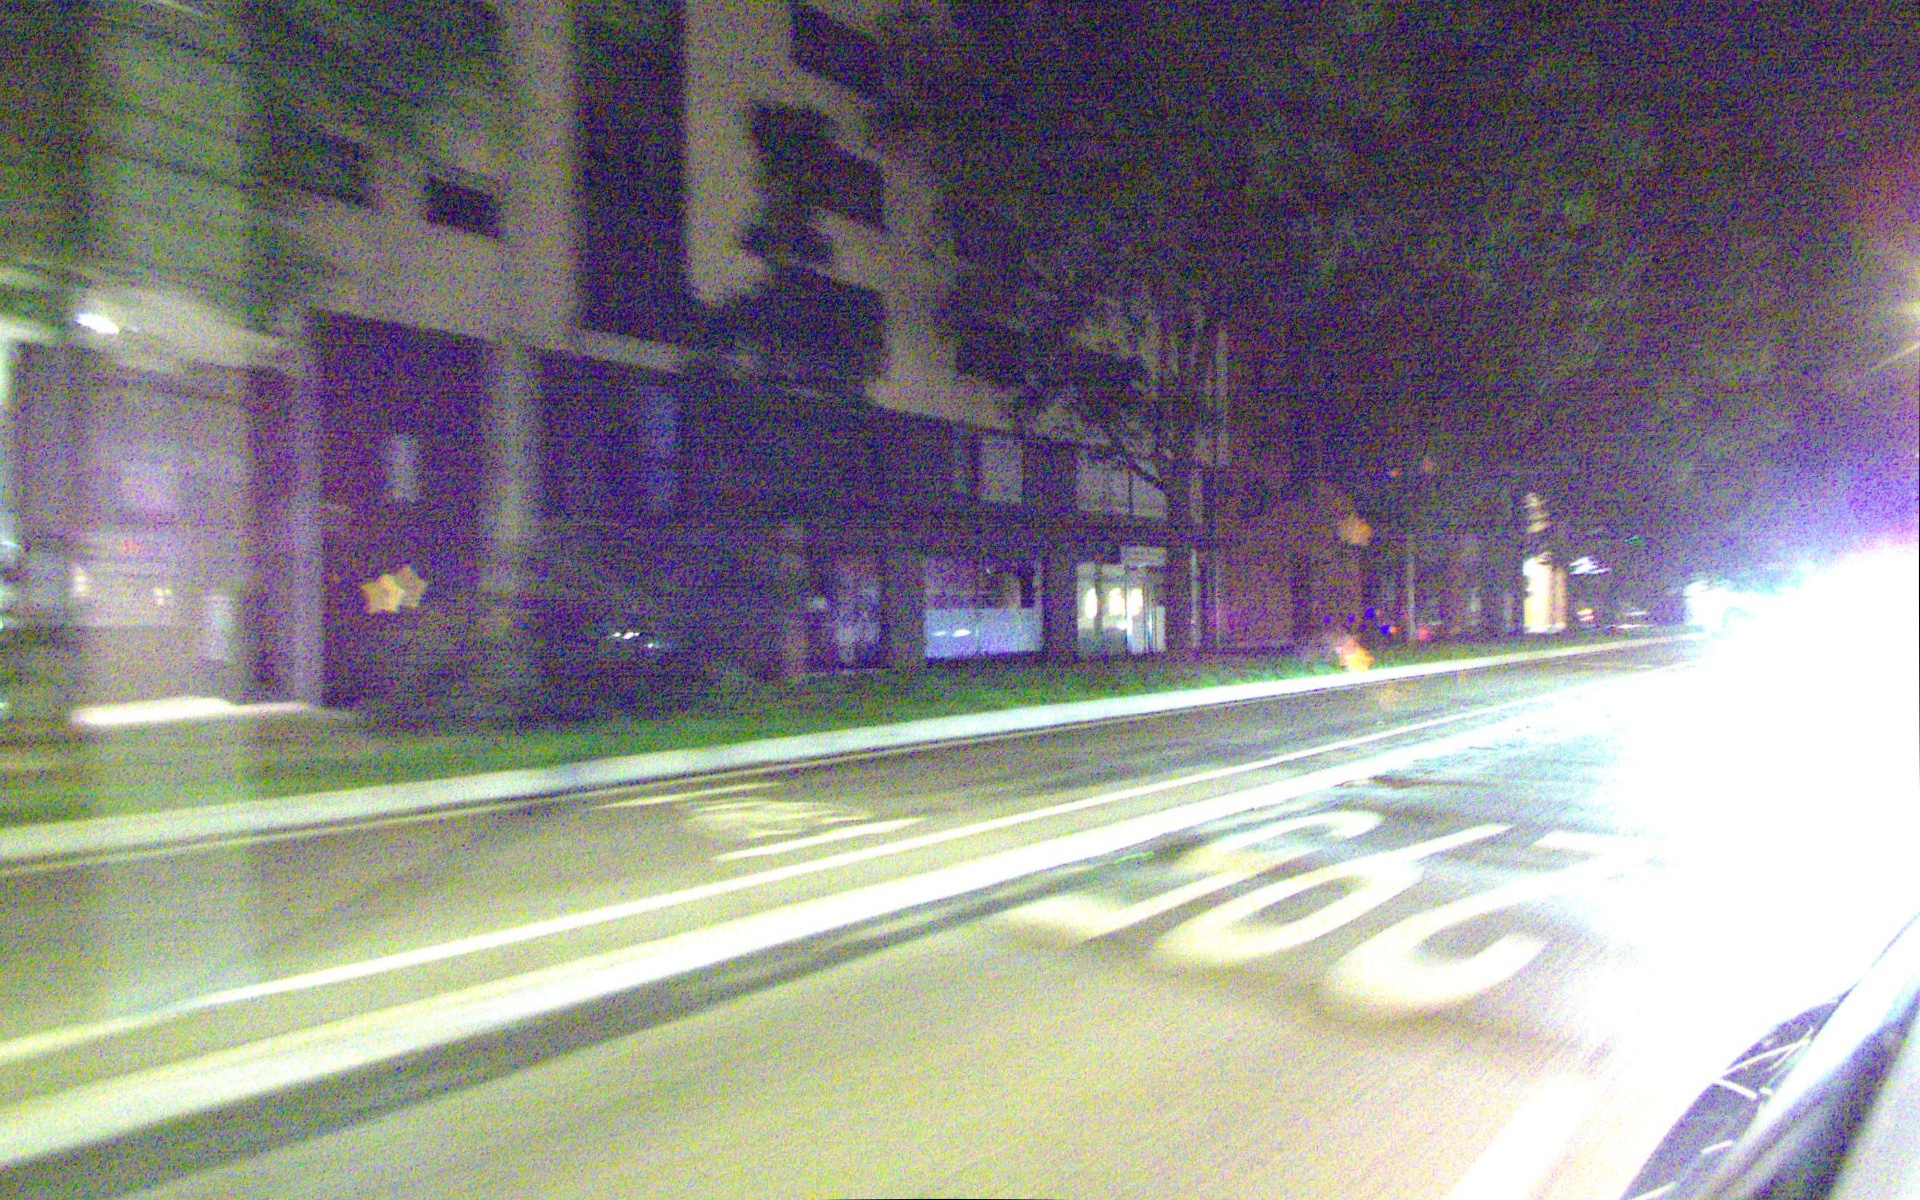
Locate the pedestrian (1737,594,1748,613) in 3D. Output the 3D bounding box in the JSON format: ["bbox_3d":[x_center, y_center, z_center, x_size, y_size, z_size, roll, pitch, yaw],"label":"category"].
[{"bbox_3d":[75.150,0.298,97.158,0.954,1.811,0.719,0,0,-45],"label":"pedestrian"}]

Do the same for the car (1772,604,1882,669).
[{"bbox_3d":[21.456,0.838,24.975,1.725,1.448,4.425,-1,-1,45],"label":"car"}]

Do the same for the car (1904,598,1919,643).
[{"bbox_3d":[34.778,0.717,35.990,1.725,1.481,3.937,1,1,44],"label":"car"}]

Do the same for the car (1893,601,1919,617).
[{"bbox_3d":[80.897,0.764,86.344,3.565,1.282,1.617,0,-1,-42],"label":"car"}]

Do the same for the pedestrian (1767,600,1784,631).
[{"bbox_3d":[43.688,0.814,54.206,0.668,1.659,0.621,0,0,-45],"label":"pedestrian"}]

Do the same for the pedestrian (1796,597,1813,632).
[{"bbox_3d":[44.610,0.748,53.464,0.747,1.834,0.622,0,0,-45],"label":"pedestrian"}]

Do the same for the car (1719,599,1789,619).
[{"bbox_3d":[60.931,0.653,77.731,4.083,1.472,1.758,1,1,45],"label":"car"}]

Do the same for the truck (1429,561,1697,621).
[{"bbox_3d":[43.733,-0.706,74.461,3.081,4.034,16.787,-1,1,-45],"label":"truck"}]
